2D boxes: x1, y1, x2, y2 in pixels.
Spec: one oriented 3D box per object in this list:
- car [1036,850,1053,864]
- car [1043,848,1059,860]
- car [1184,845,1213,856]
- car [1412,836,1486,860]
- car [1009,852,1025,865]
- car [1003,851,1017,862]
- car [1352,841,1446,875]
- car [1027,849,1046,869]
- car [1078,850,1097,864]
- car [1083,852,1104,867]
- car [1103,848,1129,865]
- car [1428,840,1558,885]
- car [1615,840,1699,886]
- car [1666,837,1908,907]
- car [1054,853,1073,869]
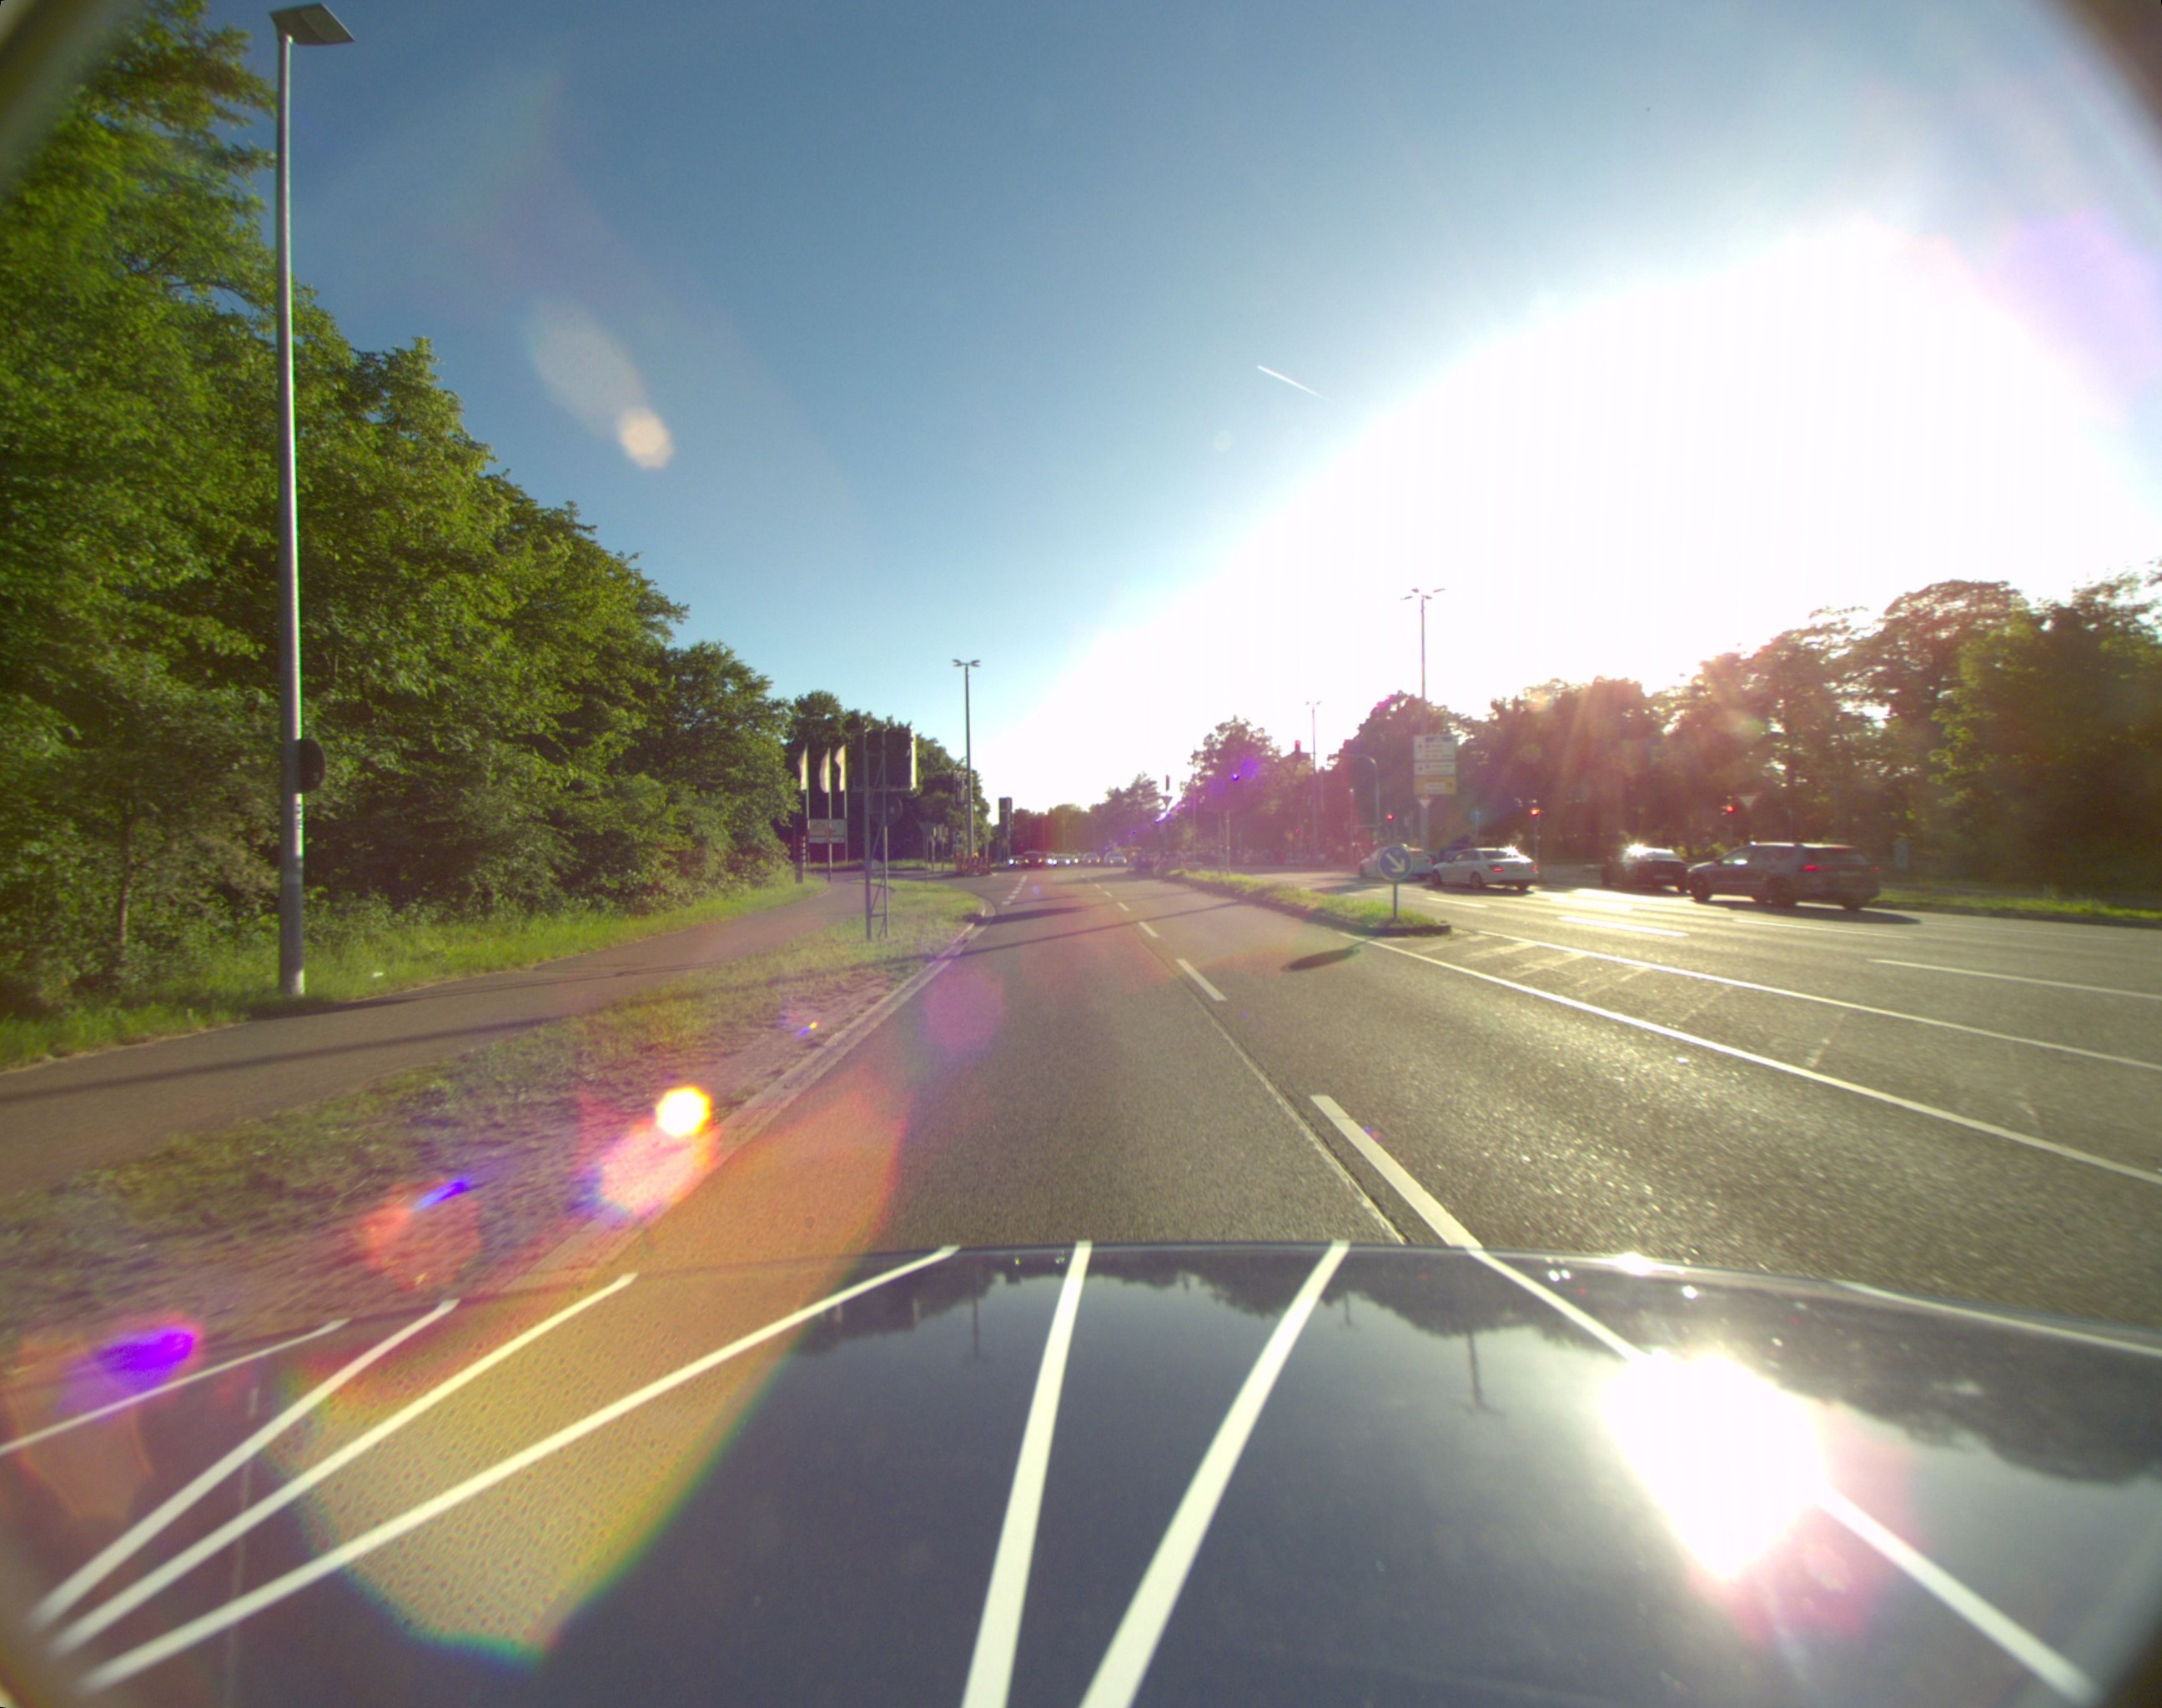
[{"bbox_3d":[-4.544,0.384,94.300,1.999,1.510,3.997,-2,2,-4],"label":"car"},{"bbox_3d":[-4.144,0.019,105.294,1.999,1.510,3.997,-2,2,-4],"label":"car"},{"bbox_3d":[18.122,-0.555,117.134,4.002,1.510,1.997,-3,2,-15],"label":"car"},{"bbox_3d":[28.001,-0.441,57.926,4.734,1.677,2.002,-1,1,13],"label":"car"},{"bbox_3d":[-8.475,0.574,100.686,1.999,1.510,3.997,-2,2,-4],"label":"car"},{"bbox_3d":[-10.915,0.392,117.519,1.999,1.510,3.997,-2,2,-4],"label":"car"},{"bbox_3d":[14.295,0.133,34.470,1.999,1.442,4.840,0,1,-4],"label":"car"},{"bbox_3d":[-5.043,0.494,85.608,1.999,2.057,3.997,-2,2,-4],"label":"car"},{"bbox_3d":[0.761,0.330,94.561,1.999,1.510,3.997,-2,2,-4],"label":"car"},{"bbox_3d":[1.405,0.566,86.692,1.999,1.510,3.997,-2,2,-4],"label":"car"},{"bbox_3d":[3.256,0.243,71.565,1.999,1.510,3.998,-1,1,-4],"label":"car"},{"bbox_3d":[14.354,0.231,26.851,1.999,1.442,4.646,0,1,-1],"label":"car"},{"bbox_3d":[20.039,0.256,26.615,1.994,1.442,4.657,-1,1,33],"label":"car"},{"bbox_3d":[17.969,0.385,19.737,1.998,1.555,4.647,1,1,1],"label":"car"},{"bbox_3d":[-2.019,0.783,85.978,1.999,1.510,3.997,-2,2,-4],"label":"car"}]
